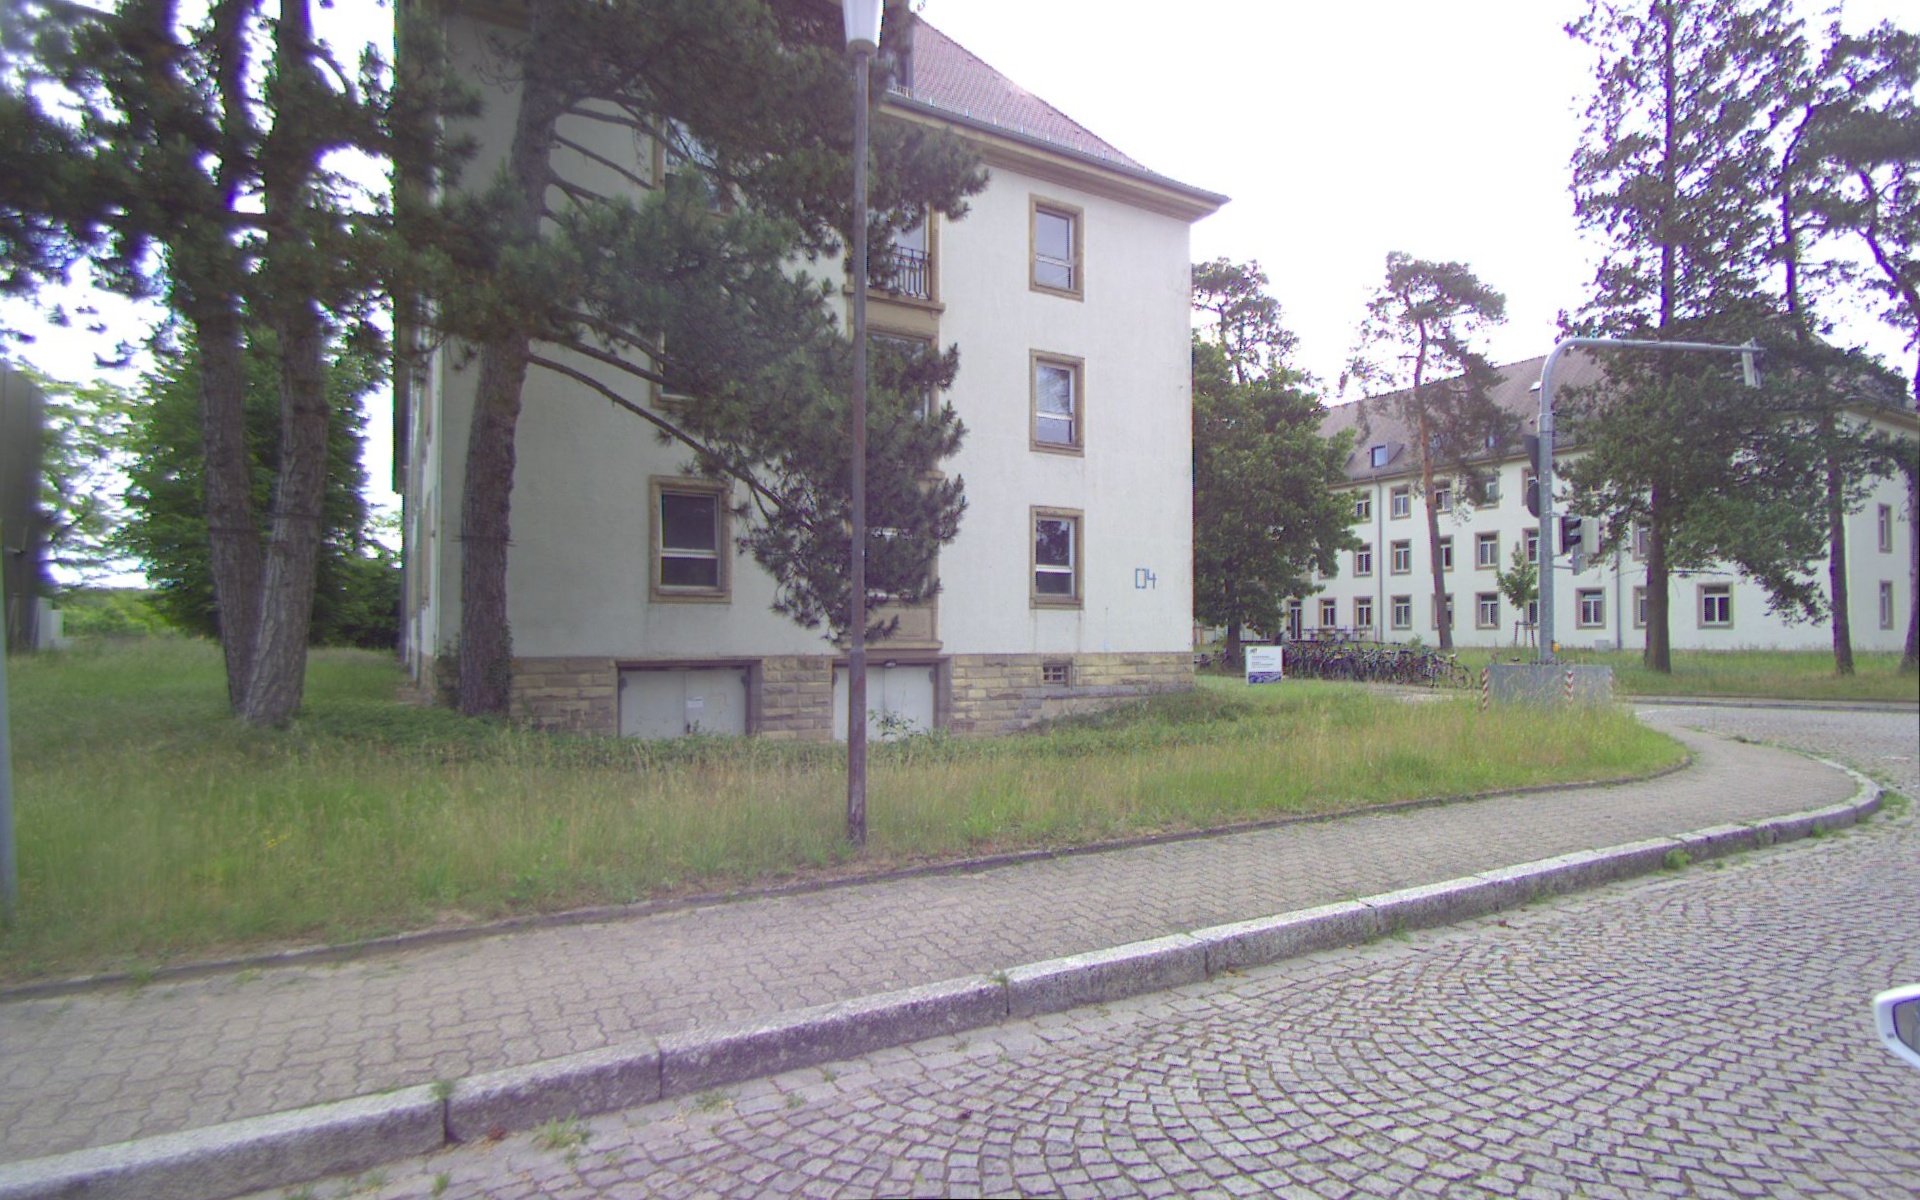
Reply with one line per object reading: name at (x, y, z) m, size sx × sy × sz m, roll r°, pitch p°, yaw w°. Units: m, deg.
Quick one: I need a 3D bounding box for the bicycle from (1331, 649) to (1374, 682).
bicycle at (13.470, 2.246, 34.494) m, size 1.567 × 1.093 × 0.512 m, roll 2°, pitch -3°, yaw -30°

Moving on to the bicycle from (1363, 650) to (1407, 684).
bicycle at (14.144, 2.210, 33.440) m, size 1.567 × 1.093 × 0.512 m, roll 2°, pitch -3°, yaw -30°

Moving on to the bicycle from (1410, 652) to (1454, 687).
bicycle at (14.994, 2.205, 31.922) m, size 1.568 × 1.093 × 0.511 m, roll 2°, pitch -3°, yaw -33°

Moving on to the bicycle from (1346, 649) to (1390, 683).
bicycle at (13.794, 2.222, 33.964) m, size 1.567 × 1.093 × 0.512 m, roll 2°, pitch -3°, yaw -30°

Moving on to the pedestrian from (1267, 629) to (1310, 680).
pedestrian at (11.805, 1.945, 36.101) m, size 1.135 × 1.812 × 1.064 m, roll -1°, pitch -1°, yaw -2°

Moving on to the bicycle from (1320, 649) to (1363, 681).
bicycle at (13.241, 2.250, 34.882) m, size 1.567 × 1.093 × 0.512 m, roll 2°, pitch -3°, yaw -30°

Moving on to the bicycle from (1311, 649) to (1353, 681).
bicycle at (13.045, 2.281, 35.213) m, size 1.567 × 1.093 × 0.512 m, roll 2°, pitch -3°, yaw -30°

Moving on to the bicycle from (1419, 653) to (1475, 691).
bicycle at (14.520, 2.133, 29.988) m, size 0.510 × 1.093 × 1.457 m, roll 2°, pitch -3°, yaw -31°

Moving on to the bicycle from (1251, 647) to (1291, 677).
bicycle at (11.673, 2.313, 37.679) m, size 1.567 × 1.093 × 0.512 m, roll 2°, pitch -3°, yaw -30°

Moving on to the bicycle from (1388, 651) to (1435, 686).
bicycle at (14.586, 2.205, 32.465) m, size 1.565 × 1.093 × 0.512 m, roll 1°, pitch -3°, yaw -28°

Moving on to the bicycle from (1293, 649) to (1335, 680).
bicycle at (12.653, 2.300, 35.904) m, size 1.567 × 1.093 × 0.512 m, roll 2°, pitch -3°, yaw -30°

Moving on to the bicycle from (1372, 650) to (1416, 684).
bicycle at (14.318, 2.209, 33.124) m, size 1.567 × 1.093 × 0.512 m, roll 2°, pitch -3°, yaw -30°

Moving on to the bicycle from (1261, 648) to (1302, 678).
bicycle at (11.928, 2.311, 37.249) m, size 1.567 × 1.093 × 0.512 m, roll 2°, pitch -3°, yaw -30°
